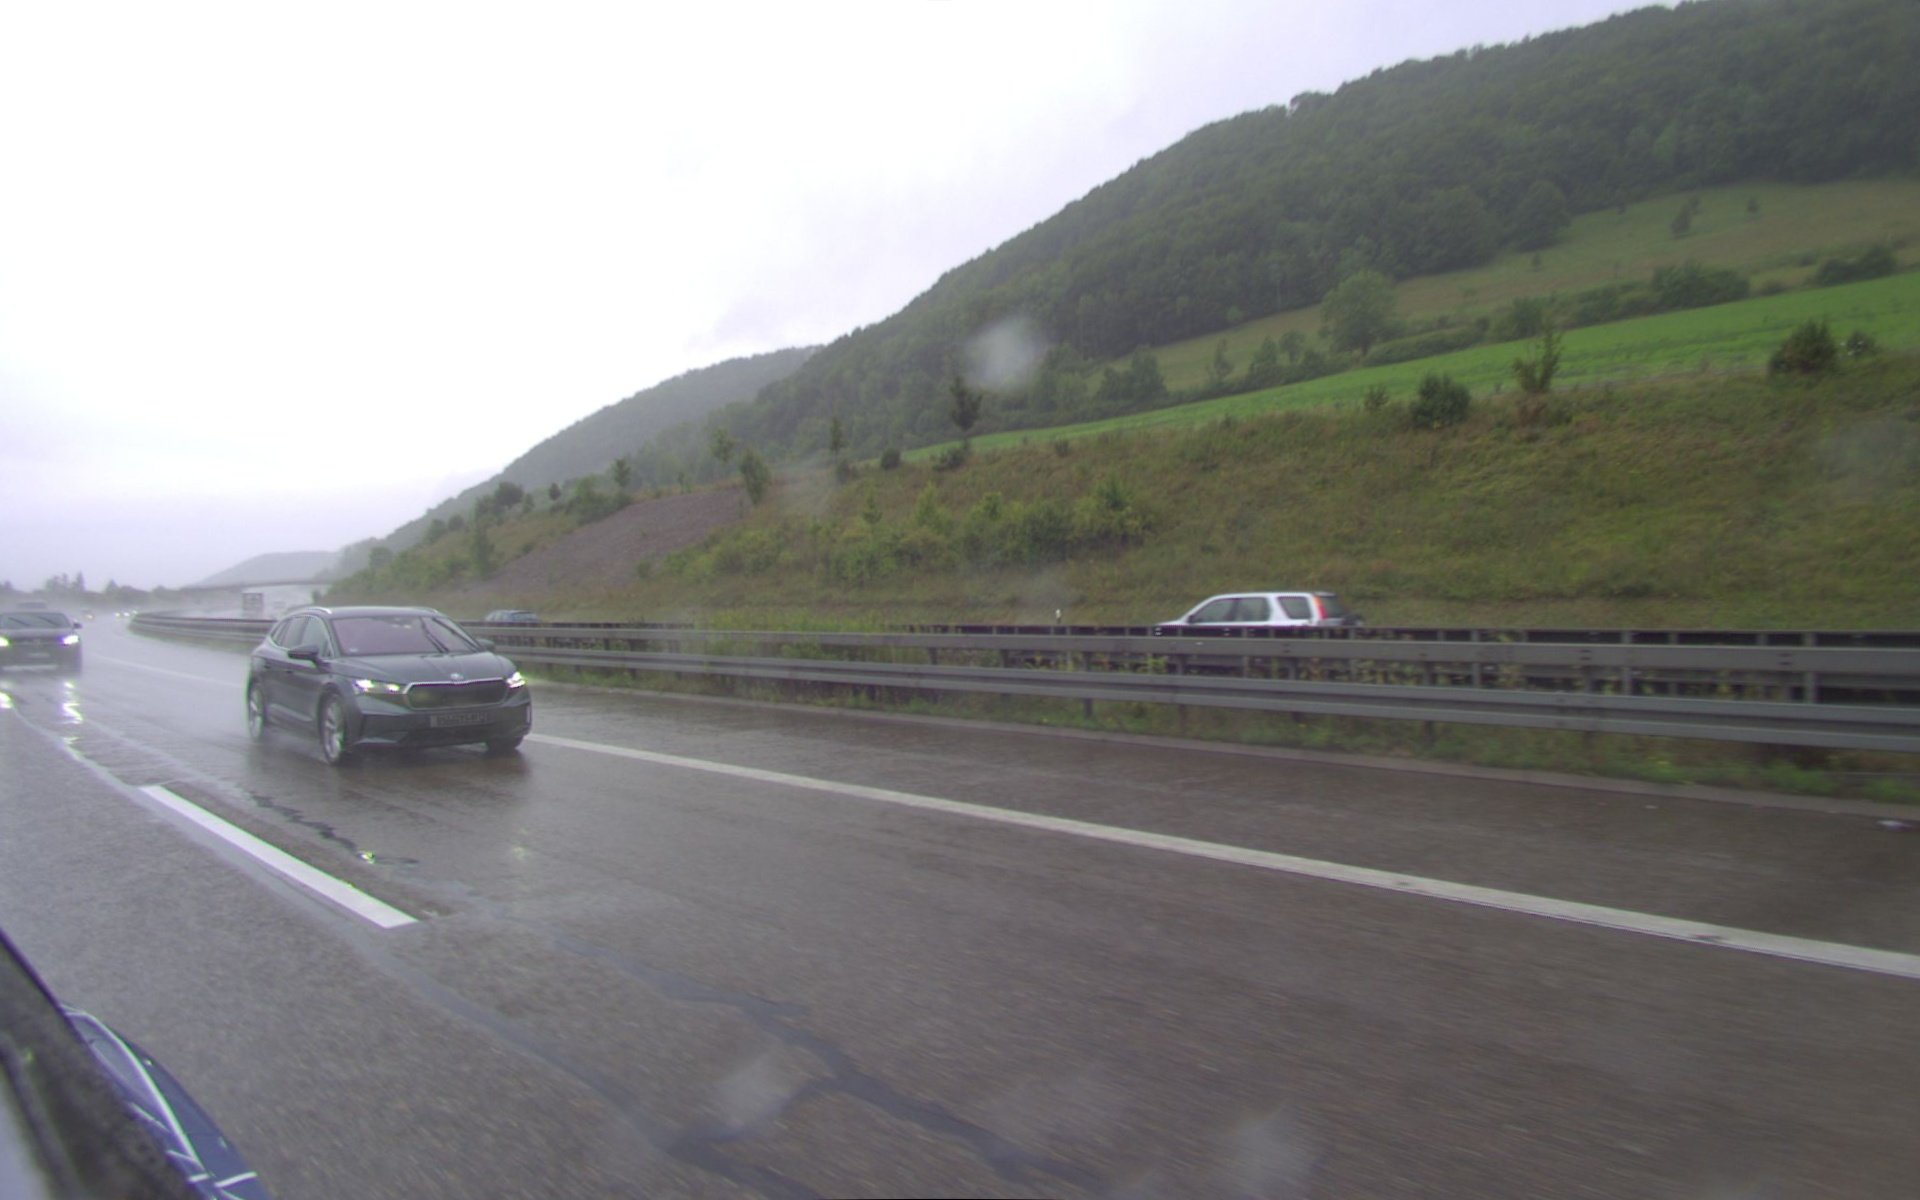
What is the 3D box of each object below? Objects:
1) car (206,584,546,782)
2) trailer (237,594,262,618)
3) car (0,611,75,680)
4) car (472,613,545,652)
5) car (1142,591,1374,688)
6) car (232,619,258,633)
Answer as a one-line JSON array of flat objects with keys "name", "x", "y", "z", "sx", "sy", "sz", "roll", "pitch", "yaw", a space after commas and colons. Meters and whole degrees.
[{"name": "car", "x": -6.690, "y": 0.731, "z": 11.310, "sx": 4.910, "sy": 1.695, "sz": 1.971, "roll": 0, "pitch": 2, "yaw": 44}, {"name": "trailer", "x": -115.751, "y": 1.047, "z": 164.818, "sx": 2.777, "sy": 3.709, "sz": 13.274, "roll": 0, "pitch": 0, "yaw": -38}, {"name": "car", "x": -25.782, "y": 1.201, "z": 28.039, "sx": 1.788, "sy": 1.715, "sz": 3.753, "roll": -2, "pitch": 1, "yaw": -42}, {"name": "car", "x": -20.216, "y": 1.433, "z": 45.253, "sx": 4.002, "sy": 1.660, "sz": 1.687, "roll": -1, "pitch": 0, "yaw": 45}, {"name": "car", "x": 5.778, "y": 0.721, "z": 19.868, "sx": 3.998, "sy": 1.705, "sz": 1.757, "roll": -1, "pitch": 0, "yaw": 41}, {"name": "car", "x": -74.714, "y": 2.723, "z": 105.742, "sx": 1.773, "sy": 1.431, "sz": 3.779, "roll": 0, "pitch": -1, "yaw": -43}]
